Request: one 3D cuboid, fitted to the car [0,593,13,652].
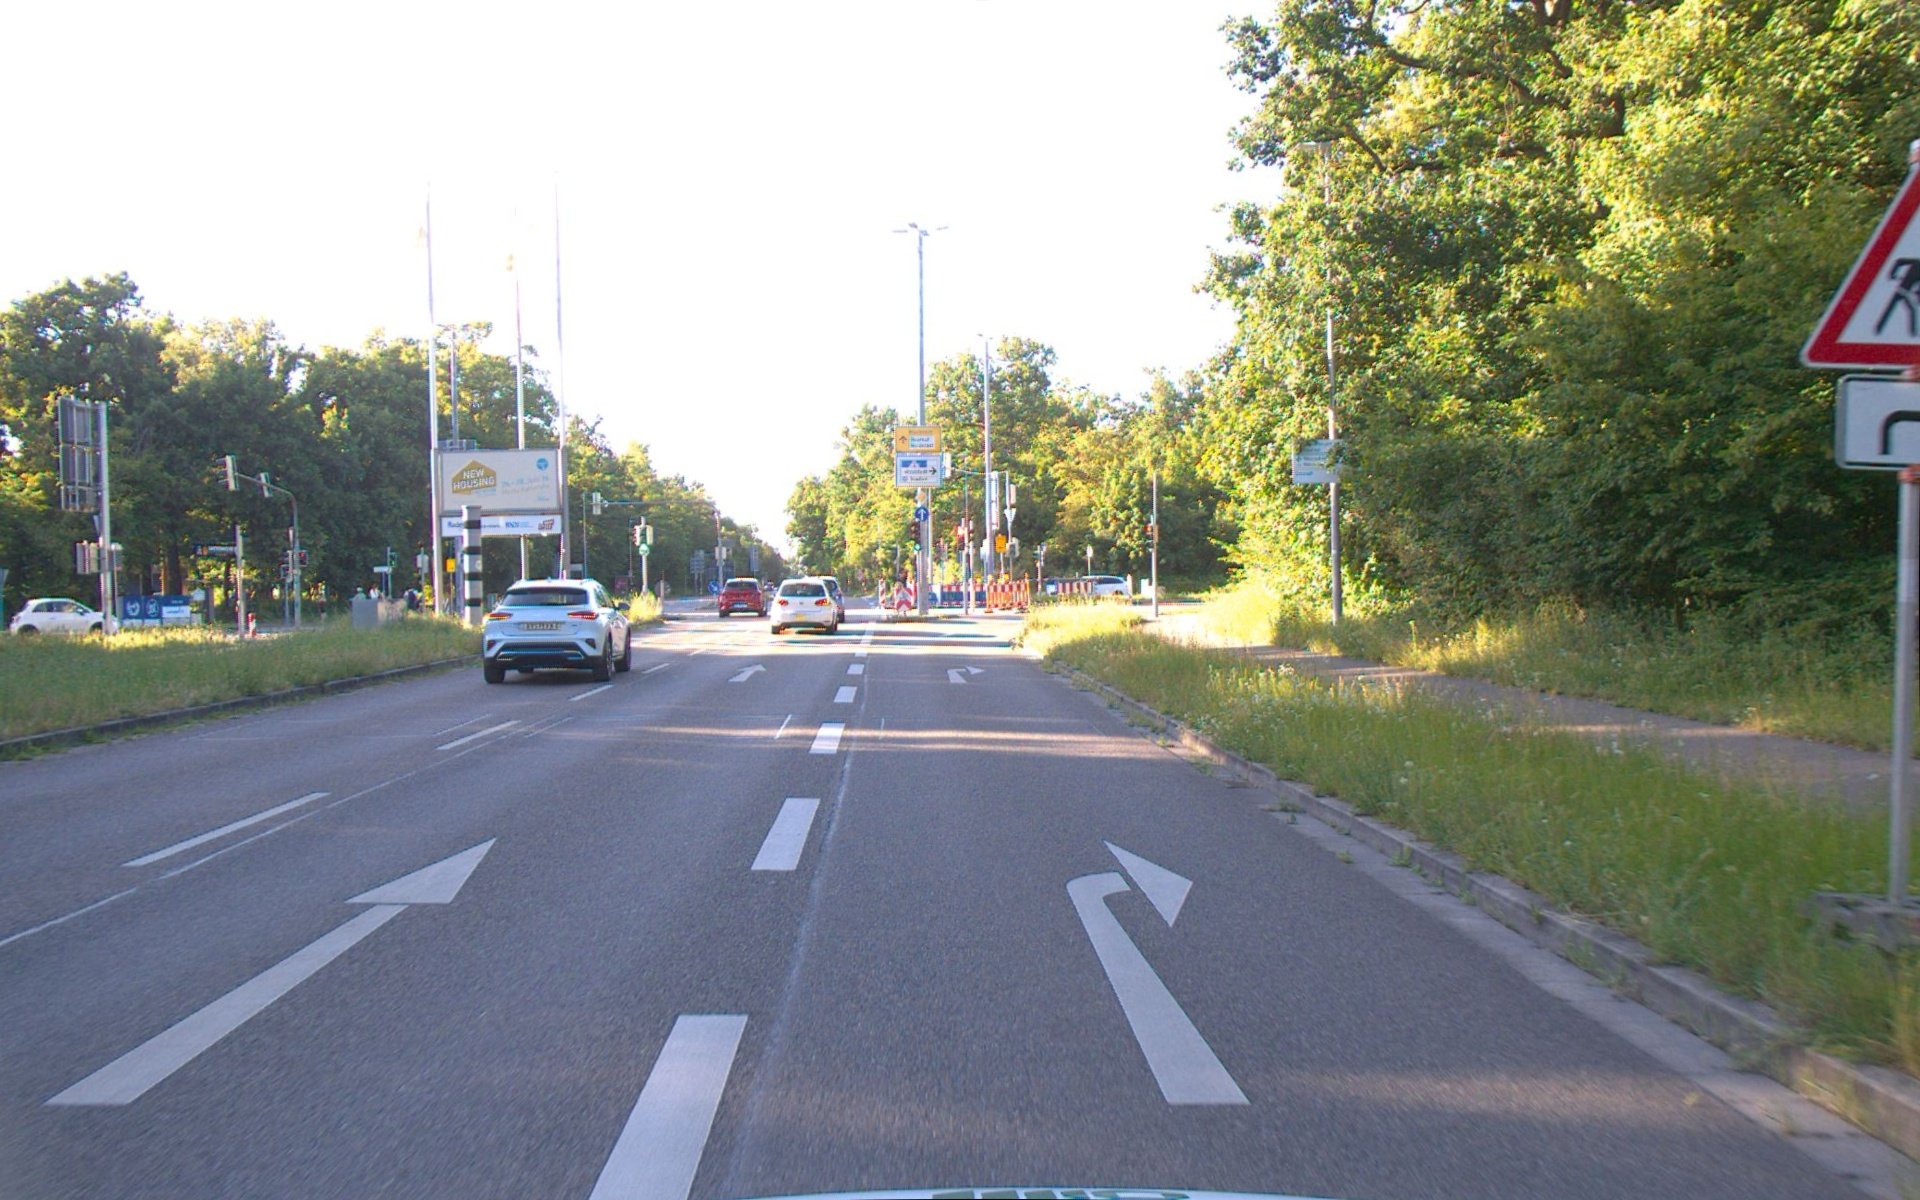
[{"bbox_3d":[-32.883,0.775,52.394,4.863,1.861,1.910,-2,1,-29],"label":"car"}]

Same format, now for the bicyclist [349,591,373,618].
[{"bbox_3d":[-27.830,0.189,76.888,0.700,1.213,0.990,-1,1,0],"label":"bicyclist"}]

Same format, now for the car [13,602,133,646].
[{"bbox_3d":[-32.288,0.851,60.287,3.745,1.413,1.910,-2,1,-29],"label":"car"}]

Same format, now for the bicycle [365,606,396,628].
[{"bbox_3d":[-26.921,0.776,76.863,0.700,0.930,1.911,-1,1,0],"label":"bicycle"}]

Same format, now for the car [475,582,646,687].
[{"bbox_3d":[-6.033,0.468,25.403,1.826,1.469,3.998,-1,1,-3],"label":"car"}]

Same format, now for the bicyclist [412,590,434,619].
[{"bbox_3d":[-25.774,0.220,79.394,0.700,1.365,0.990,-1,1,0],"label":"bicyclist"}]

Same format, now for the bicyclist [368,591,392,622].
[{"bbox_3d":[-26.937,0.286,76.825,0.696,1.414,0.990,-1,1,0],"label":"bicyclist"}]

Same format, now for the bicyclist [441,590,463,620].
[{"bbox_3d":[-23.896,0.239,77.844,0.700,1.362,0.990,-1,1,0],"label":"bicyclist"}]

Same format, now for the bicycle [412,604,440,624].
[{"bbox_3d":[-25.760,0.662,79.856,0.700,0.930,1.911,-1,1,0],"label":"bicycle"}]

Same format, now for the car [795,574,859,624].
[{"bbox_3d":[-4.529,-0.050,55.910,1.956,1.563,3.994,-2,1,-7],"label":"car"}]

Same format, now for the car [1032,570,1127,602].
[{"bbox_3d":[6.446,-0.741,89.401,4.756,1.608,1.985,-2,1,-25],"label":"car"}]

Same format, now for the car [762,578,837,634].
[{"bbox_3d":[-4.458,0.146,46.427,1.902,1.439,3.997,-2,1,-4],"label":"car"}]

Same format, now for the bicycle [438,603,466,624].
[{"bbox_3d":[-23.889,0.640,77.788,0.700,0.930,1.911,-1,1,0],"label":"bicycle"}]

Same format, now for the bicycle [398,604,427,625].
[{"bbox_3d":[-25.733,0.694,77.764,0.700,0.930,1.911,-1,1,0],"label":"bicycle"}]

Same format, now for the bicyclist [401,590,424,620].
[{"bbox_3d":[-25.742,0.252,77.757,0.700,1.379,0.990,-1,1,0],"label":"bicyclist"}]

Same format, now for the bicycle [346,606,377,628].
[{"bbox_3d":[-27.814,0.791,76.893,0.700,0.930,1.911,-1,2,0],"label":"bicycle"}]

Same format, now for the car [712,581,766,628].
[{"bbox_3d":[-8.440,0.149,63.442,1.956,1.714,3.994,-2,1,-7],"label":"car"}]
